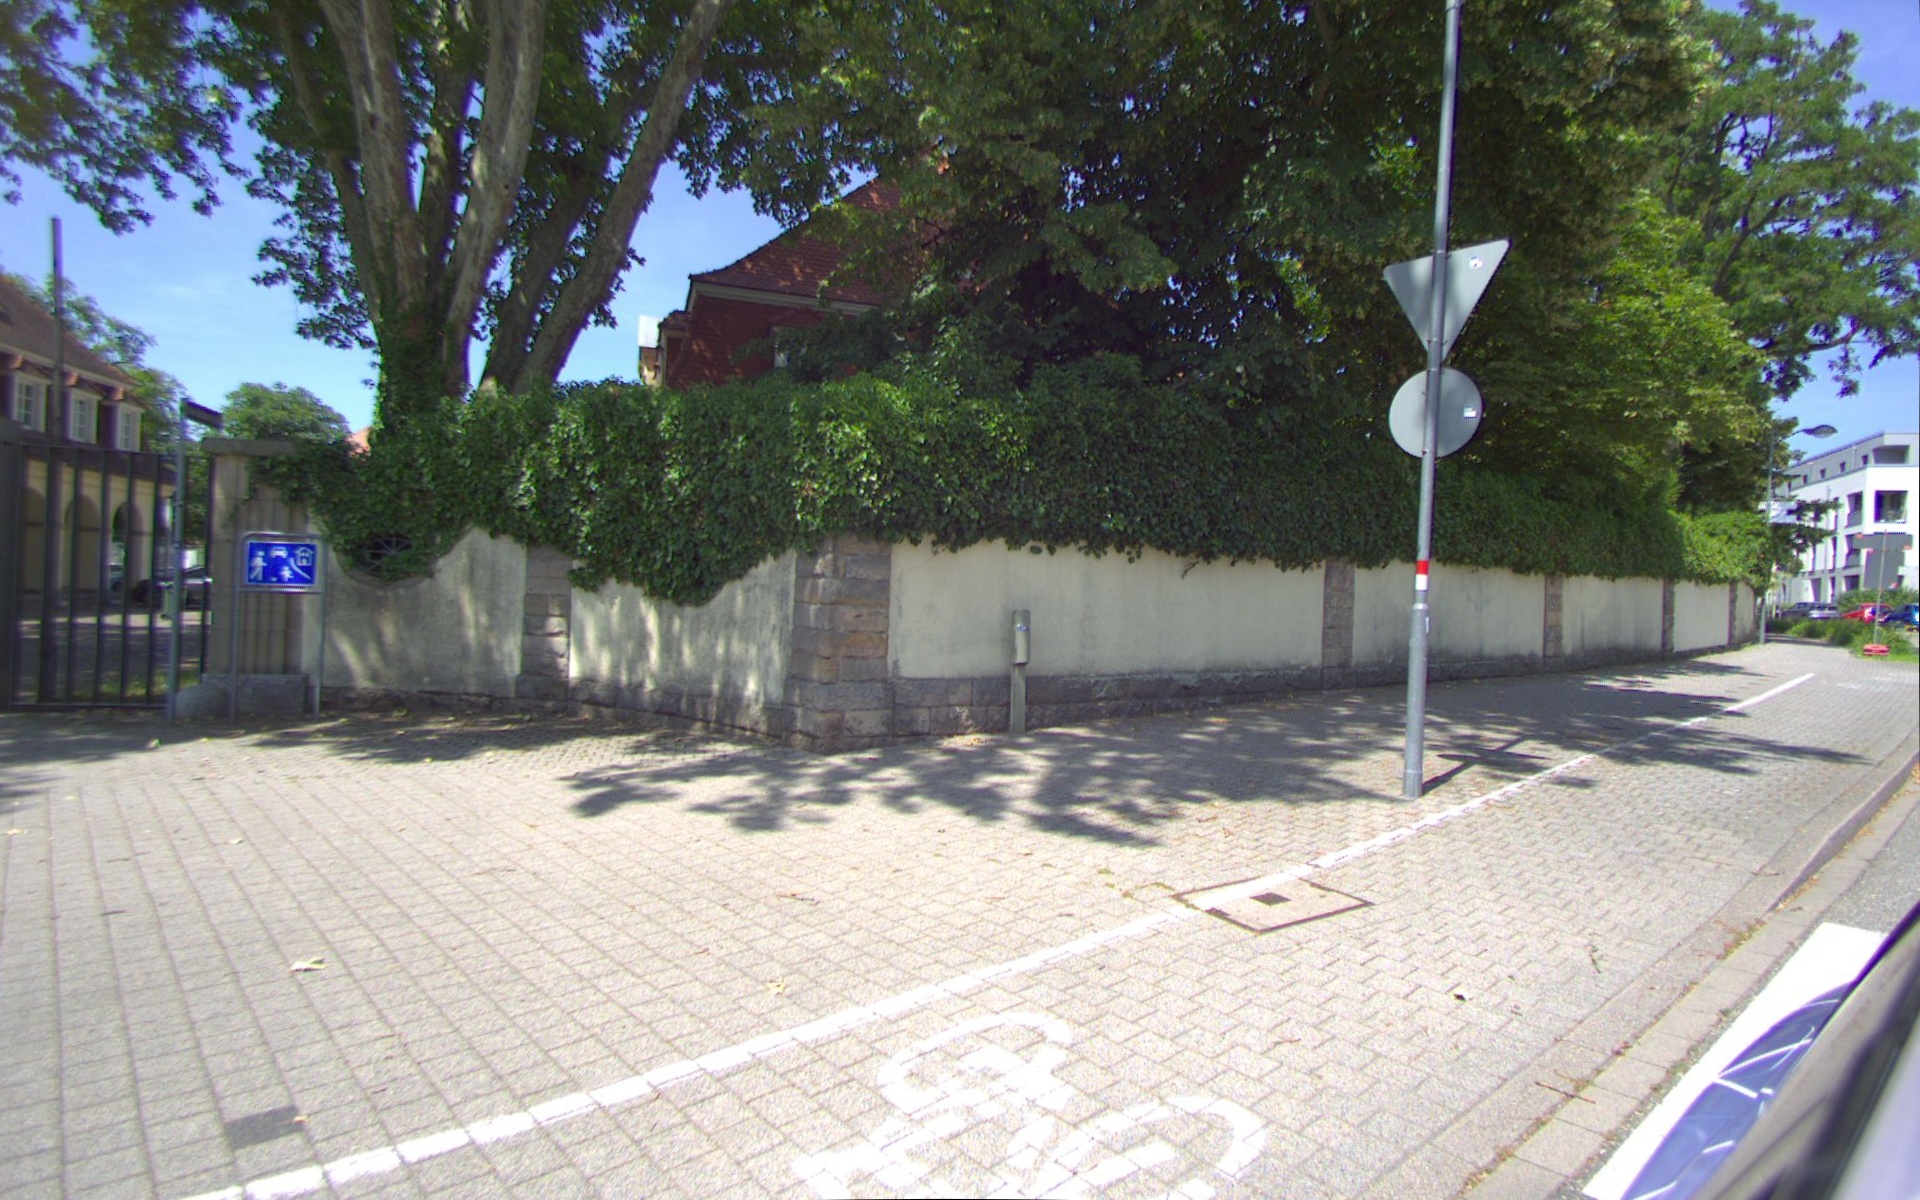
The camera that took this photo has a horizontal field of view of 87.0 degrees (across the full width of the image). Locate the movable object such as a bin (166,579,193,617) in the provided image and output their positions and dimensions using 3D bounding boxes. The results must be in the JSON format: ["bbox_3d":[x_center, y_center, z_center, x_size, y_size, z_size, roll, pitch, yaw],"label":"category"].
[{"bbox_3d":[-21.299,-0.050,27.625,0.526,1.021,0.529,1,1,45],"label":"movable object such as a bin"}]

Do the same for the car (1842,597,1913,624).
[{"bbox_3d":[52.801,0.572,58.296,1.686,1.431,3.698,1,1,19],"label":"car"}]

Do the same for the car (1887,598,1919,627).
[{"bbox_3d":[50.812,0.658,53.220,1.686,1.431,3.698,1,1,19],"label":"car"}]

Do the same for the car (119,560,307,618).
[{"bbox_3d":[-24.252,-0.359,33.056,4.408,1.420,2.004,6,-1,-14],"label":"car"}]

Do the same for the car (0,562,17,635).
[{"bbox_3d":[-20.587,-0.218,18.484,4.408,1.420,2.004,6,-1,-14],"label":"car"}]

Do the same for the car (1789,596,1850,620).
[{"bbox_3d":[54.684,0.471,64.464,1.686,1.431,3.698,1,1,19],"label":"car"}]
